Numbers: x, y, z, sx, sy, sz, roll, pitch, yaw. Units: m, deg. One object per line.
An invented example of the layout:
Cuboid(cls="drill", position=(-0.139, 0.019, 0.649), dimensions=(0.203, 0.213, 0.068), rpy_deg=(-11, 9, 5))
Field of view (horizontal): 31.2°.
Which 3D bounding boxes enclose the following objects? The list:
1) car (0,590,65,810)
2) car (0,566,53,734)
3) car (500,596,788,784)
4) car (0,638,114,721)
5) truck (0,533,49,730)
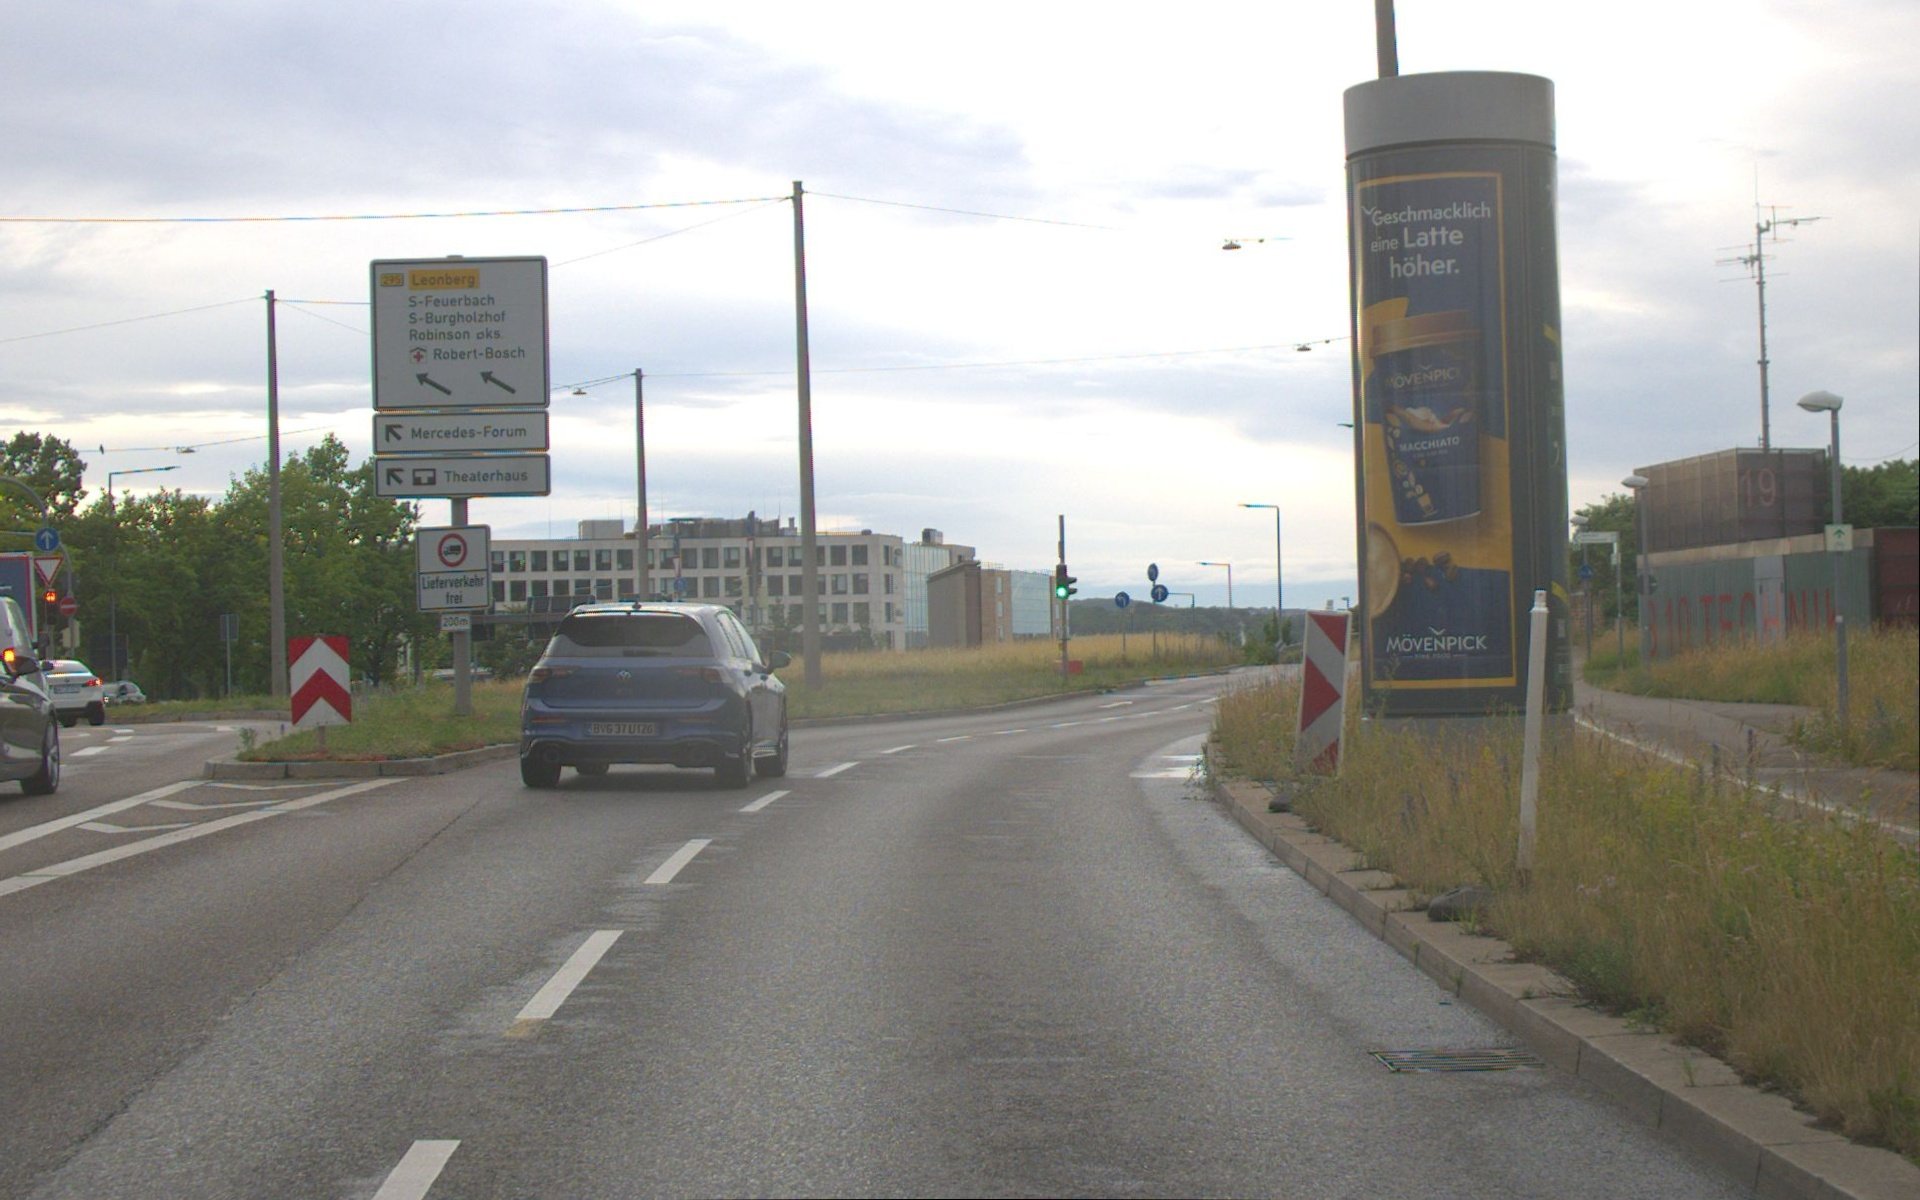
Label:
Cuboid(cls="car", position=(-7.819, 0.740, 25.099), dimensions=(1.869, 1.456, 3.977), rpy_deg=(-1, 2, -6))
Cuboid(cls="car", position=(-12.473, 0.660, 42.879), dimensions=(1.904, 1.966, 5.093), rpy_deg=(-2, -1, -12))
Cuboid(cls="car", position=(-2.474, 0.689, 27.825), dimensions=(1.838, 1.389, 4.000), rpy_deg=(-1, 0, 2))
Cuboid(cls="car", position=(-19.475, 1.714, 73.242), dimensions=(1.919, 1.638, 4.391), rpy_deg=(0, -2, -26))
Cuboid(cls="truck", position=(-17.390, 0.540, 59.000), dimensions=(2.666, 3.209, 6.550), rpy_deg=(0, 0, -21))
